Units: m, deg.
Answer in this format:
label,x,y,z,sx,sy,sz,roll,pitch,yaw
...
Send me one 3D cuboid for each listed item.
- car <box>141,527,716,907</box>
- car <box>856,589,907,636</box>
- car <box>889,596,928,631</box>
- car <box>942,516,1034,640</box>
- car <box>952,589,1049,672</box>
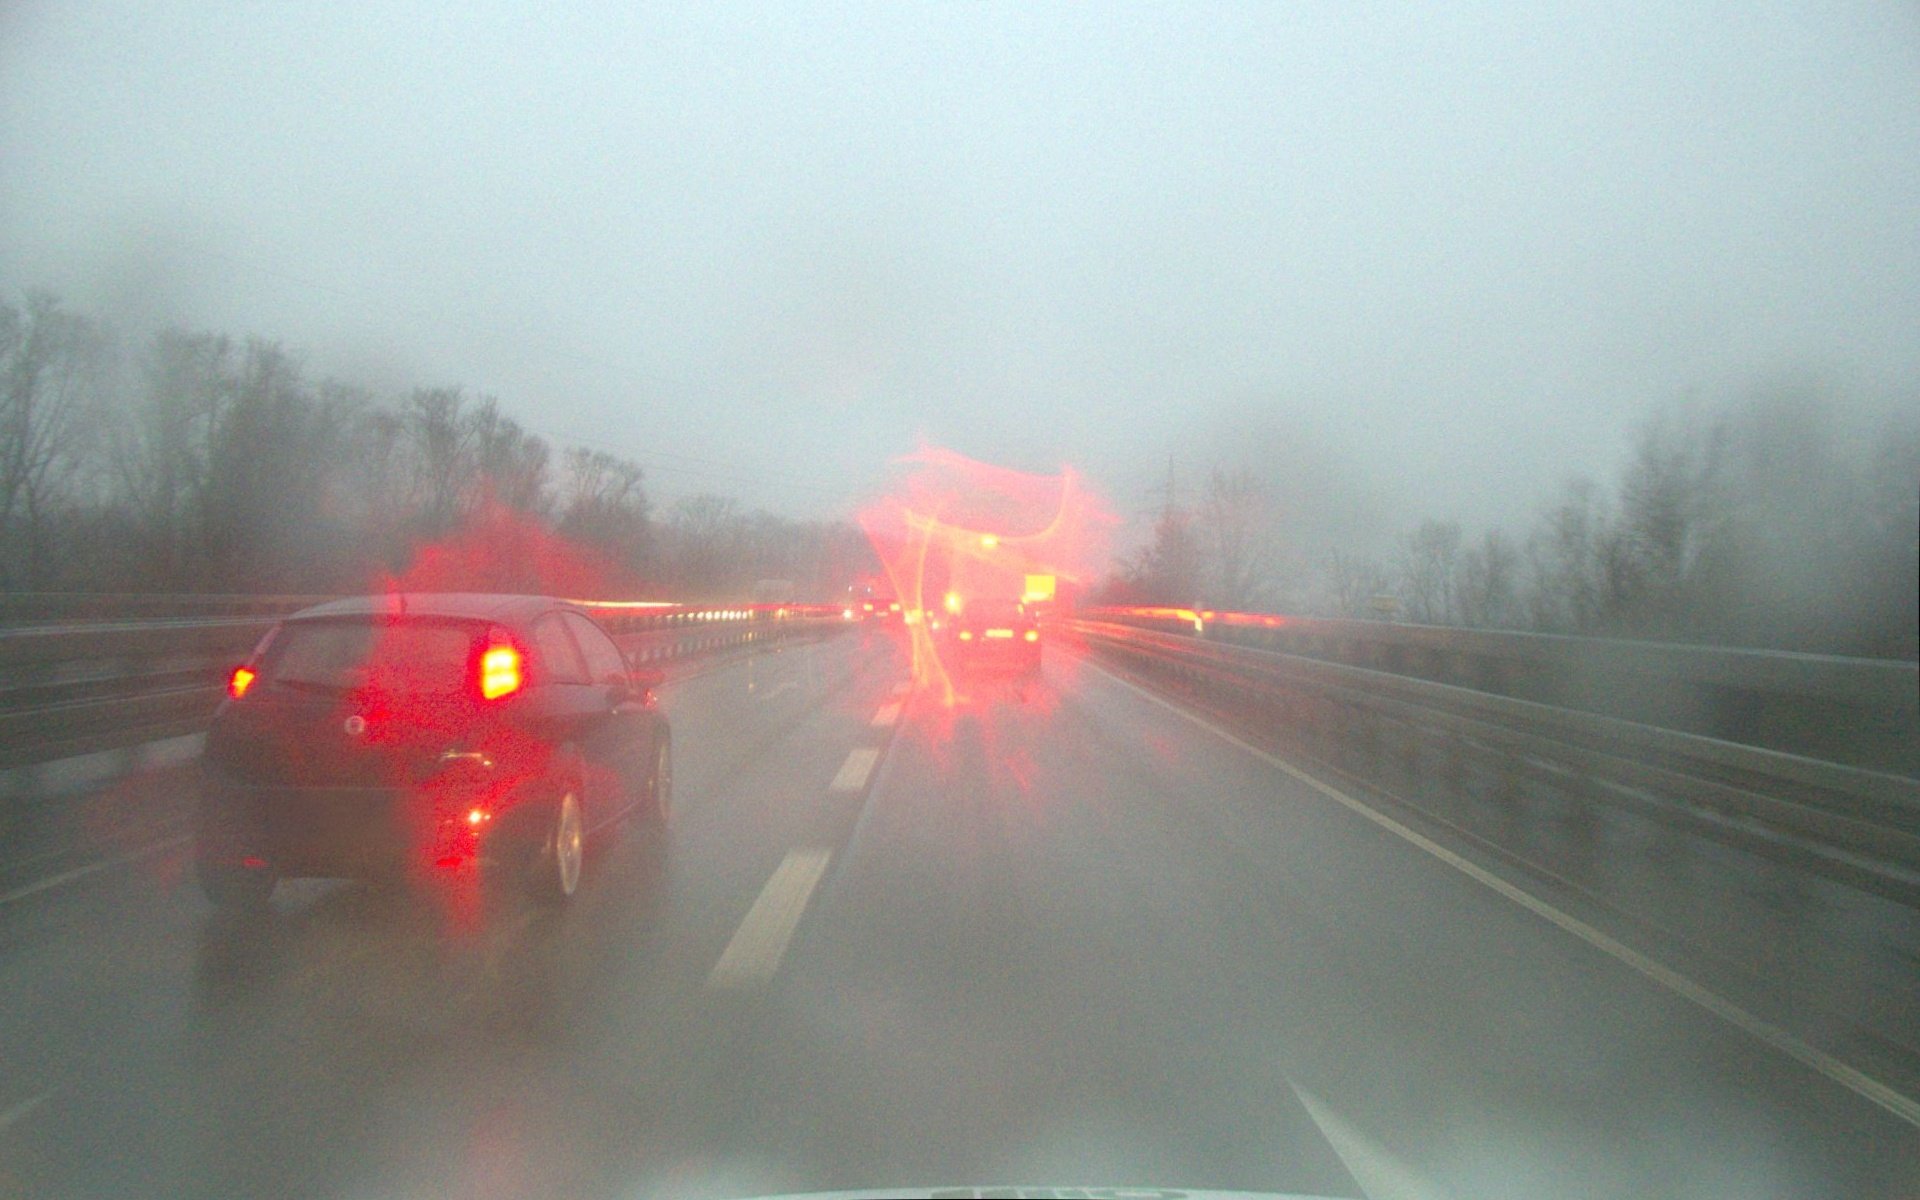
label,x,y,z,sx,sy,sz,roll,pitch,yaw
car,-2.485,0.526,8.835,1.694,1.559,4.042,0,-1,1
car,-3.287,0.494,69.876,1.953,1.846,3.999,3,0,-2
car,-2.766,0.724,88.426,1.953,1.744,3.998,3,0,-2
car,0.674,-0.484,43.539,2.235,3.018,6.389,0,-1,0
car,0.784,0.553,32.357,1.701,1.439,4.378,3,0,1
